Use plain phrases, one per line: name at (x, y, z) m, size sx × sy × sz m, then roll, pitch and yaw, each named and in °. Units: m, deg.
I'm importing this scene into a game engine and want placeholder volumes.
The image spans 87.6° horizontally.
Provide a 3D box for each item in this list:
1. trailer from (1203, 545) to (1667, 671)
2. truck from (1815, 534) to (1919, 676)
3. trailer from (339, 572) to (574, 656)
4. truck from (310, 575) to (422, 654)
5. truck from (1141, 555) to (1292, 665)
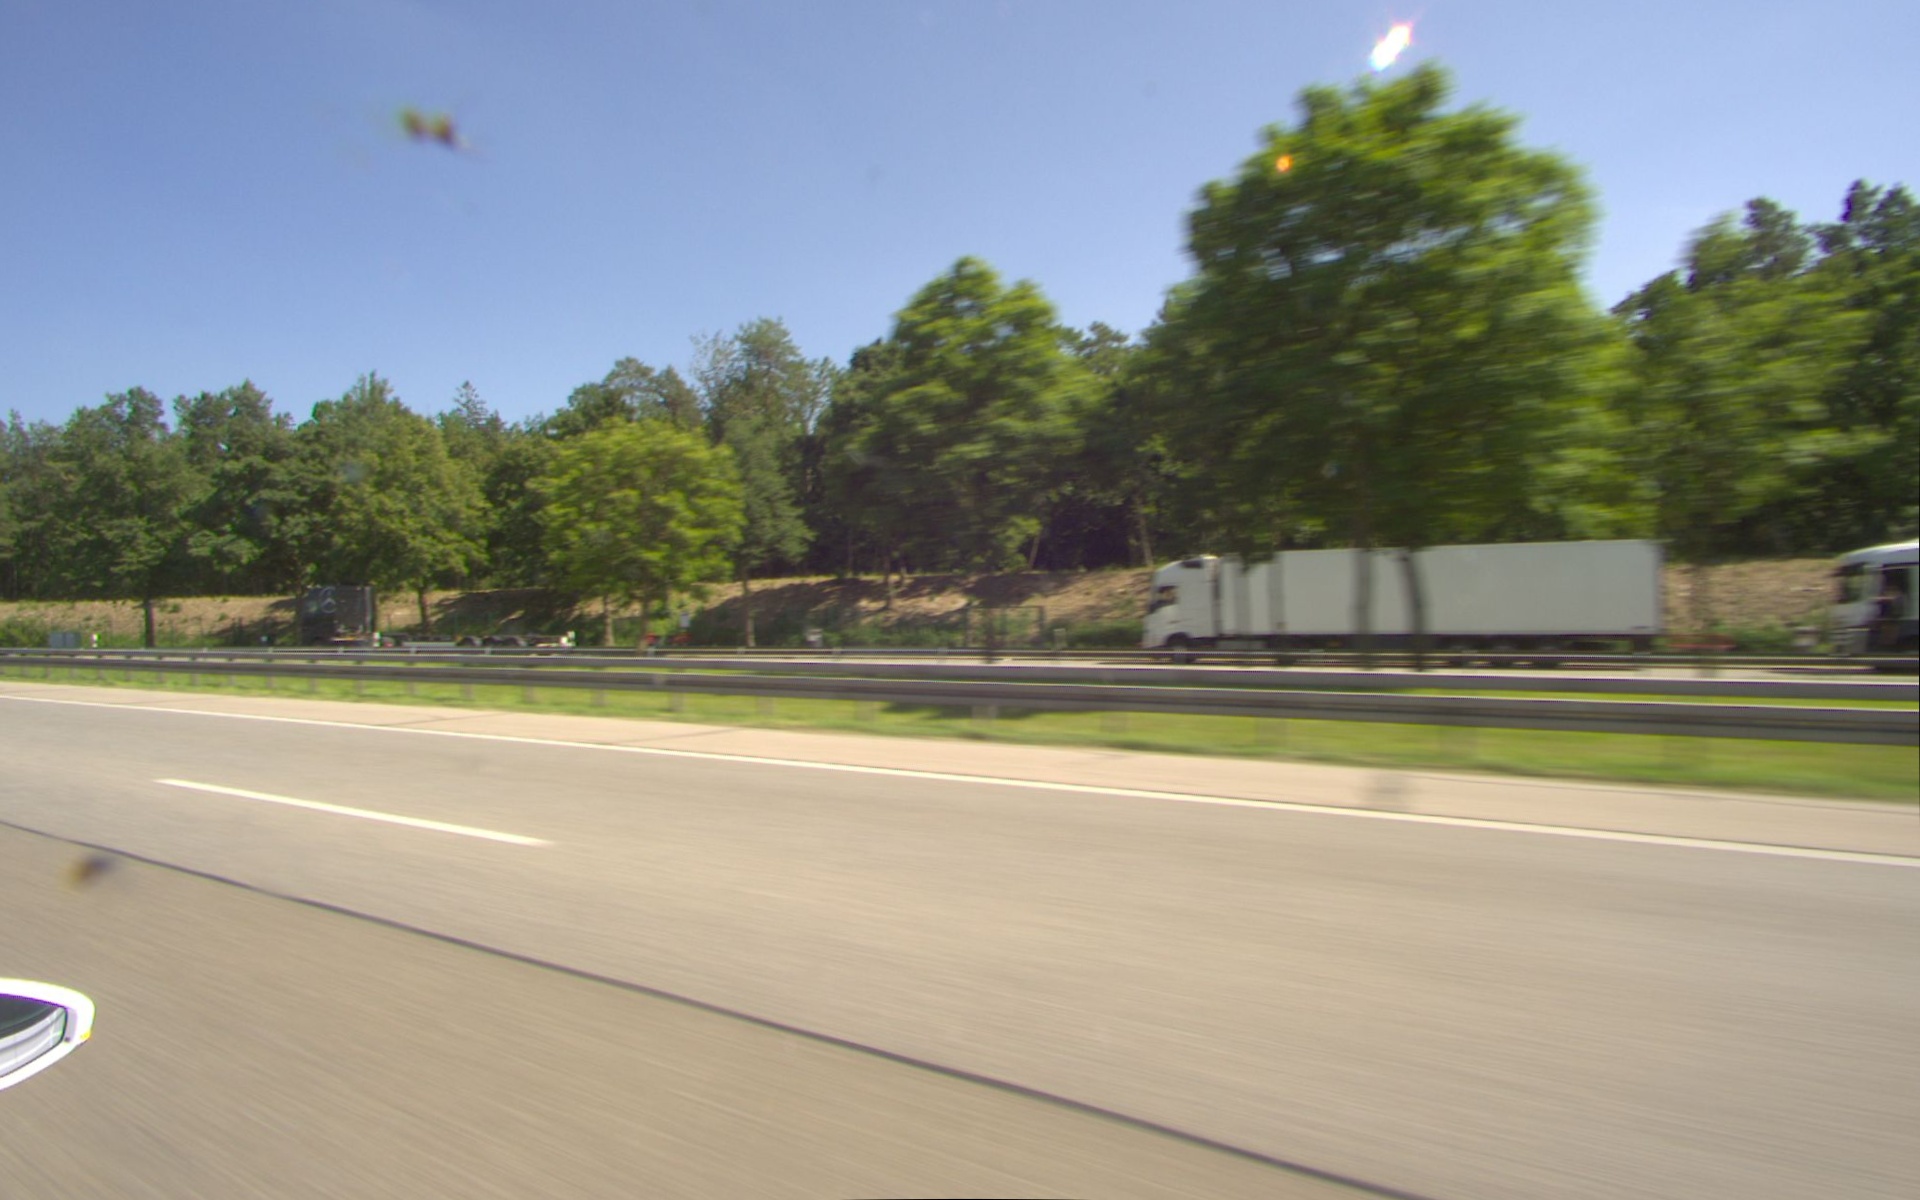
trailer at (15.730, 0.344, 34.664) m, size 13.957 × 3.846 × 2.858 m, roll -1°, pitch 0°, yaw 25°
truck at (28.281, 0.141, 28.983) m, size 4.758 × 3.983 × 2.969 m, roll -1°, pitch 0°, yaw 27°
trailer at (-25.566, 0.767, 50.657) m, size 12.522 × 3.966 × 2.576 m, roll -1°, pitch 0°, yaw 19°
truck at (-31.135, 0.787, 52.528) m, size 4.780 × 3.966 × 2.576 m, roll -1°, pitch 0°, yaw 19°
truck at (9.623, 0.407, 37.499) m, size 5.061 × 3.846 × 2.809 m, roll -1°, pitch 0°, yaw 25°
